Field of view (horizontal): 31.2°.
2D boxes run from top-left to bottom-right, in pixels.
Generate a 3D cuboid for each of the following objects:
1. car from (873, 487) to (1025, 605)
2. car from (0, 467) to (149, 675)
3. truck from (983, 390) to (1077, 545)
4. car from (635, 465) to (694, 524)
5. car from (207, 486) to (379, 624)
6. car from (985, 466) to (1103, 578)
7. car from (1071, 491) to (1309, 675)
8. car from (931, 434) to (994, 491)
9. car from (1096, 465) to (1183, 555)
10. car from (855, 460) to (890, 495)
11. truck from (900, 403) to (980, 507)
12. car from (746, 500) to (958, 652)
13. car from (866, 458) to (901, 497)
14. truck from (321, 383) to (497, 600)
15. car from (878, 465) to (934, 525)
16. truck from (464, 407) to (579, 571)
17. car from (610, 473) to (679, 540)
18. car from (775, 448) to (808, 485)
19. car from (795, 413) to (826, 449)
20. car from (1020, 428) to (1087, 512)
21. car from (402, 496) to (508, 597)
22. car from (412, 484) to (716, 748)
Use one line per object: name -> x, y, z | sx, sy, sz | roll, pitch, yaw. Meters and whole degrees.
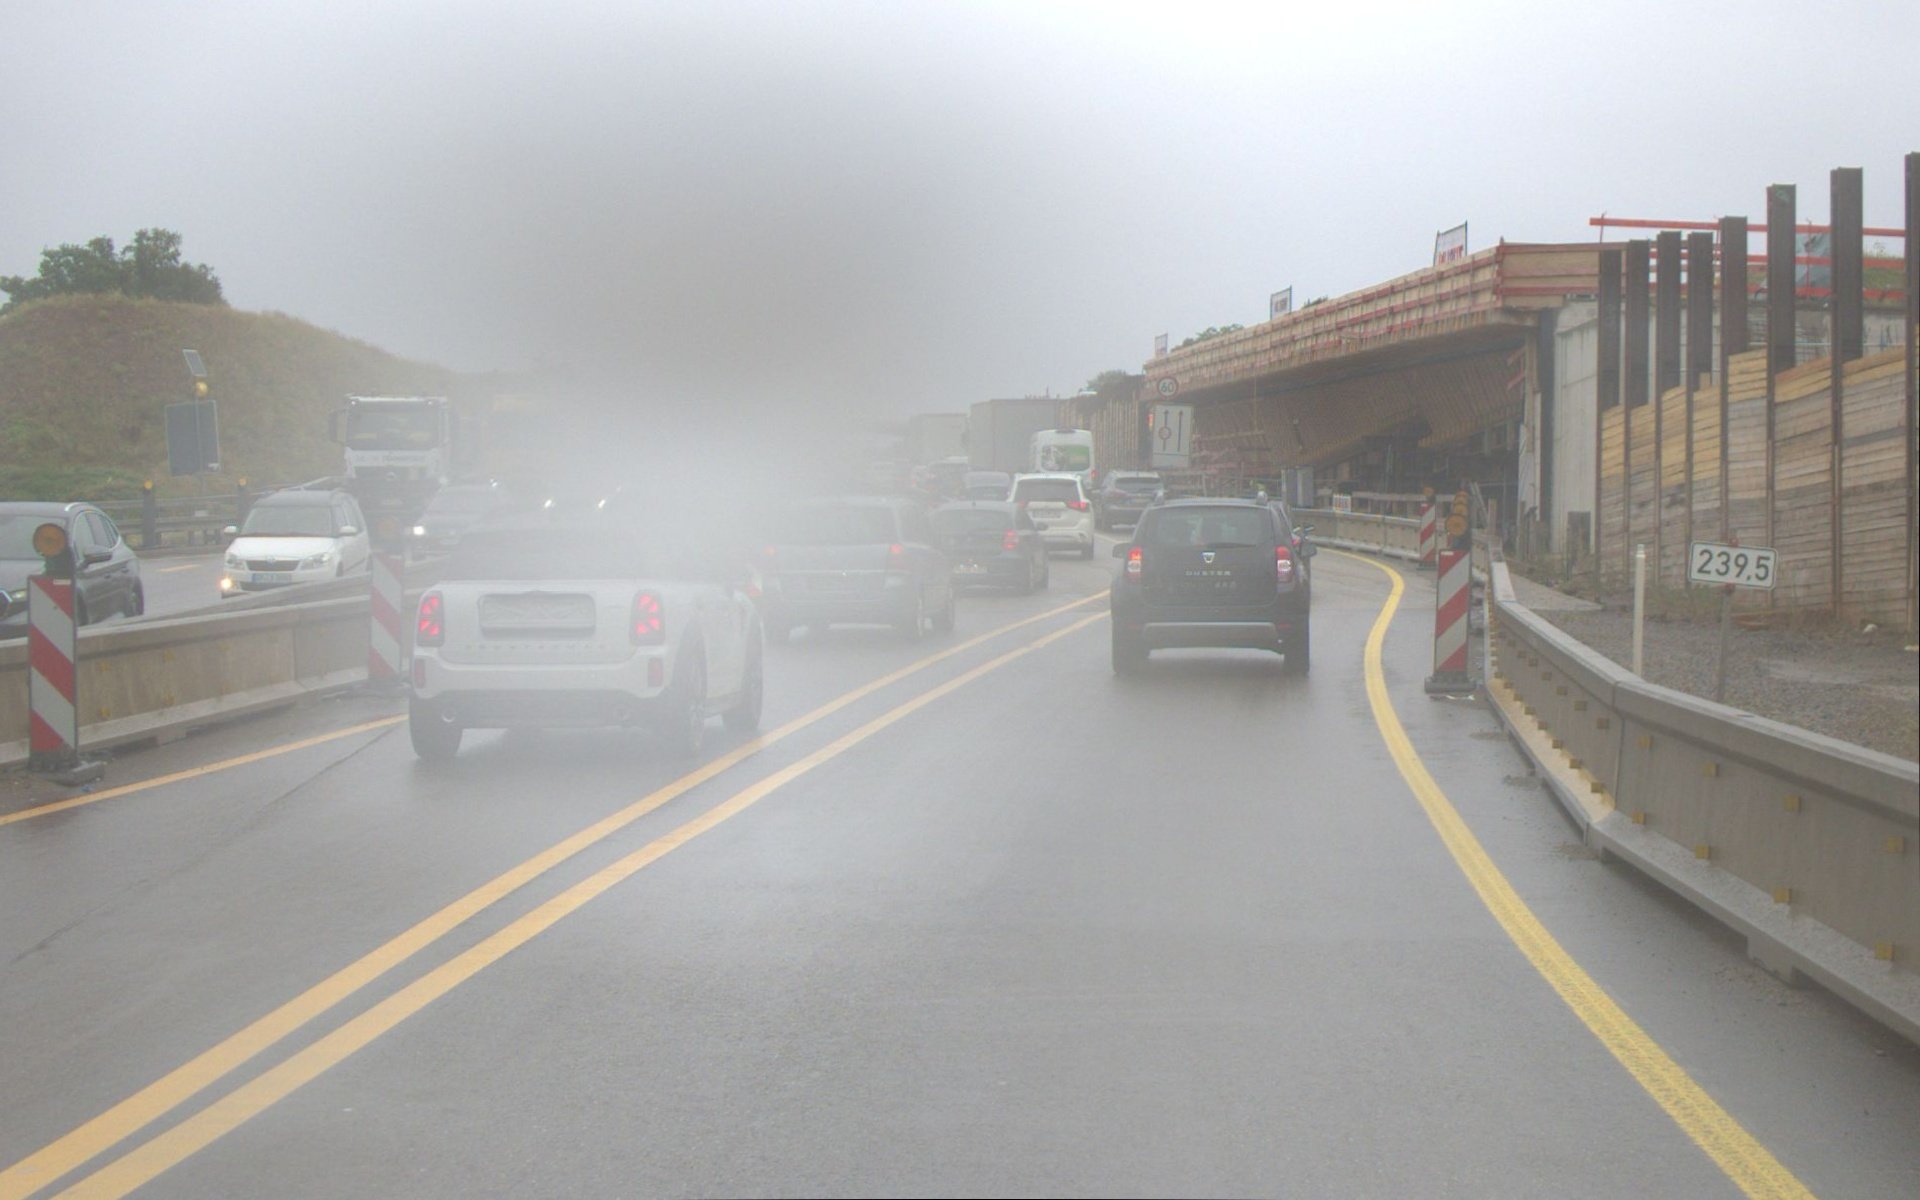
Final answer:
car -> -0.210, -0.775, 51.772 | 1.993, 1.595, 4.141 | 0, -2, -4
car -> -8.969, -0.205, 32.375 | 1.785, 1.804, 4.499 | 0, -2, -3
truck -> 2.796, -5.068, 134.119 | 3.102, 5.408, 9.440 | 0, -2, 5
car -> -12.358, -4.402, 144.113 | 2.216, 2.362, 4.664 | 1, 0, -2
car -> -9.530, -0.603, 49.439 | 1.785, 1.804, 4.499 | 0, -2, -3
car -> 1.618, -1.498, 67.517 | 1.993, 2.007, 3.893 | 0, -2, -4
car -> 2.136, -0.102, 32.277 | 2.081, 1.595, 4.139 | 0, -2, 3
car -> 0.076, -4.824, 120.851 | 1.993, 1.755, 3.815 | 0, -2, -3
car -> 4.689, -2.333, 90.425 | 1.993, 2.156, 4.140 | 0, -2, -1
car -> -5.349, -7.470, 210.155 | 1.993, 2.007, 4.000 | -1, 0, -3
truck -> -1.215, -8.168, 195.987 | 3.803, 5.026, 12.922 | 0, -2, -4
car -> -1.169, -0.224, 39.117 | 1.994, 1.595, 4.139 | 0, -2, 4
car -> -4.234, -6.747, 189.602 | 1.849, 1.887, 4.021 | 0, -2, -2
truck -> -13.112, -2.486, 82.510 | 3.082, 4.903, 8.564 | 1, 0, -2
car -> -2.149, -4.155, 137.065 | 1.993, 2.156, 4.140 | 0, -2, 2
truck -> -15.147, -3.752, 119.375 | 3.141, 5.399, 8.524 | 1, 0, -2
car -> -11.701, -3.450, 127.818 | 2.238, 2.351, 4.877 | 1, 0, -2
car -> -10.299, -8.147, 209.829 | 1.993, 2.007, 4.000 | 0, -2, -3
car -> -9.737, -11.007, 223.928 | 1.993, 2.007, 4.000 | 0, -2, -3
car -> 3.088, -4.296, 114.316 | 1.993, 2.476, 4.981 | 0, -2, -1
car -> -9.807, -1.011, 66.956 | 1.623, 1.804, 3.637 | 0, -2, -2
car -> -2.548, 0.132, 22.959 | 1.815, 1.595, 4.308 | 0, -1, -4
